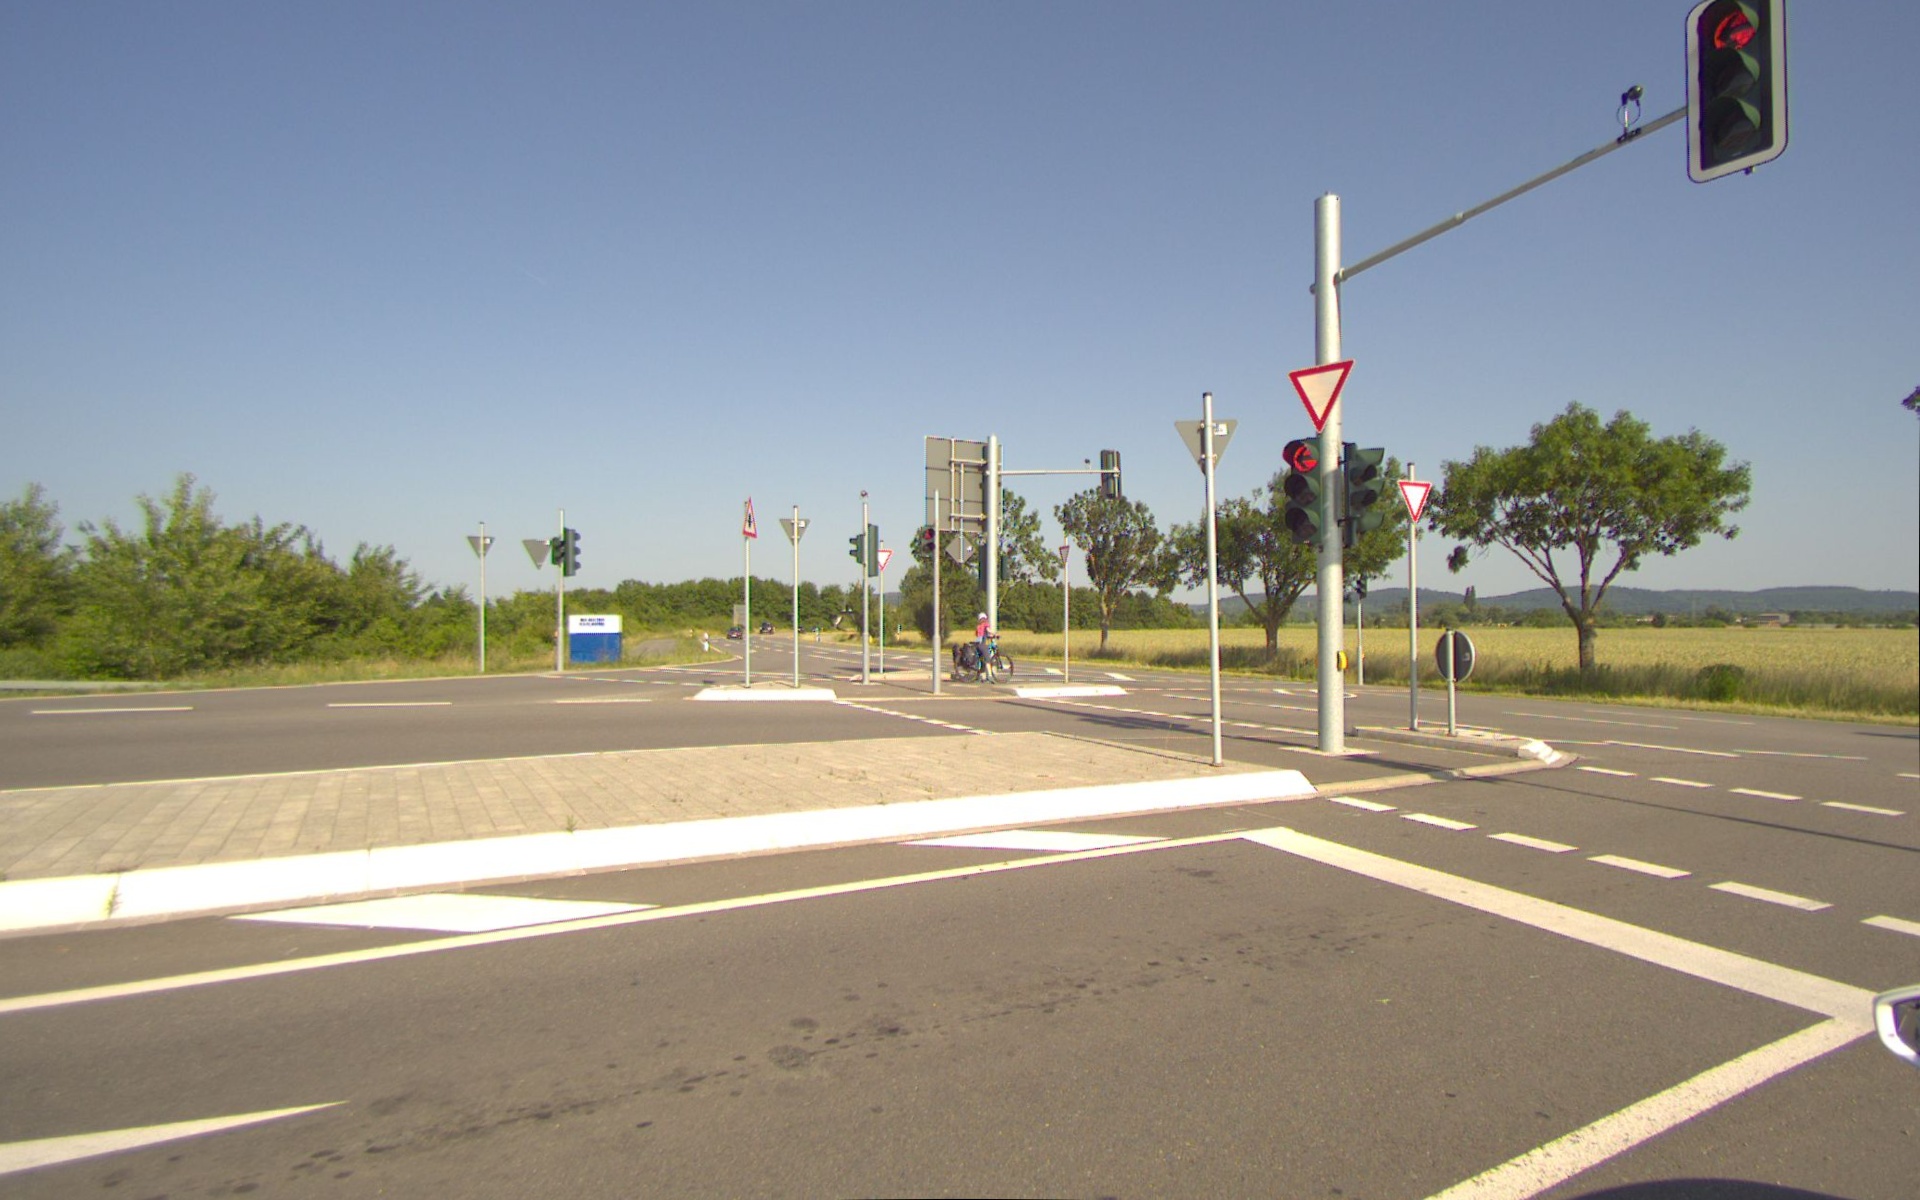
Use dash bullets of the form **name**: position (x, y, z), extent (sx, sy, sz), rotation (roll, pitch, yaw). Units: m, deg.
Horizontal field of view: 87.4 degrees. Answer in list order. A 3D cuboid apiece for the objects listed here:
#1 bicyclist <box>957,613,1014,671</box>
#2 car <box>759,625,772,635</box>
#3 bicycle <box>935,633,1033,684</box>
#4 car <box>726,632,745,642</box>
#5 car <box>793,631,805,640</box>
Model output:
- **bicyclist**: position (0.623, 1.017, 24.507), extent (1.062, 1.369, 0.851), rotation (2, -1, -31)
- **car**: position (-32.766, 5.097, 169.139), extent (1.828, 1.562, 3.996), rotation (1, -2, -6)
- **bicycle**: position (0.583, 1.422, 24.486), extent (2.126, 1.164, 1.065), rotation (3, -1, -31)
- **car**: position (-25.047, 4.126, 112.167), extent (1.709, 1.127, 3.995), rotation (2, -2, -9)
- **car**: position (-30.549, 6.715, 190.616), extent (1.695, 1.544, 3.469), rotation (2, -1, -1)
